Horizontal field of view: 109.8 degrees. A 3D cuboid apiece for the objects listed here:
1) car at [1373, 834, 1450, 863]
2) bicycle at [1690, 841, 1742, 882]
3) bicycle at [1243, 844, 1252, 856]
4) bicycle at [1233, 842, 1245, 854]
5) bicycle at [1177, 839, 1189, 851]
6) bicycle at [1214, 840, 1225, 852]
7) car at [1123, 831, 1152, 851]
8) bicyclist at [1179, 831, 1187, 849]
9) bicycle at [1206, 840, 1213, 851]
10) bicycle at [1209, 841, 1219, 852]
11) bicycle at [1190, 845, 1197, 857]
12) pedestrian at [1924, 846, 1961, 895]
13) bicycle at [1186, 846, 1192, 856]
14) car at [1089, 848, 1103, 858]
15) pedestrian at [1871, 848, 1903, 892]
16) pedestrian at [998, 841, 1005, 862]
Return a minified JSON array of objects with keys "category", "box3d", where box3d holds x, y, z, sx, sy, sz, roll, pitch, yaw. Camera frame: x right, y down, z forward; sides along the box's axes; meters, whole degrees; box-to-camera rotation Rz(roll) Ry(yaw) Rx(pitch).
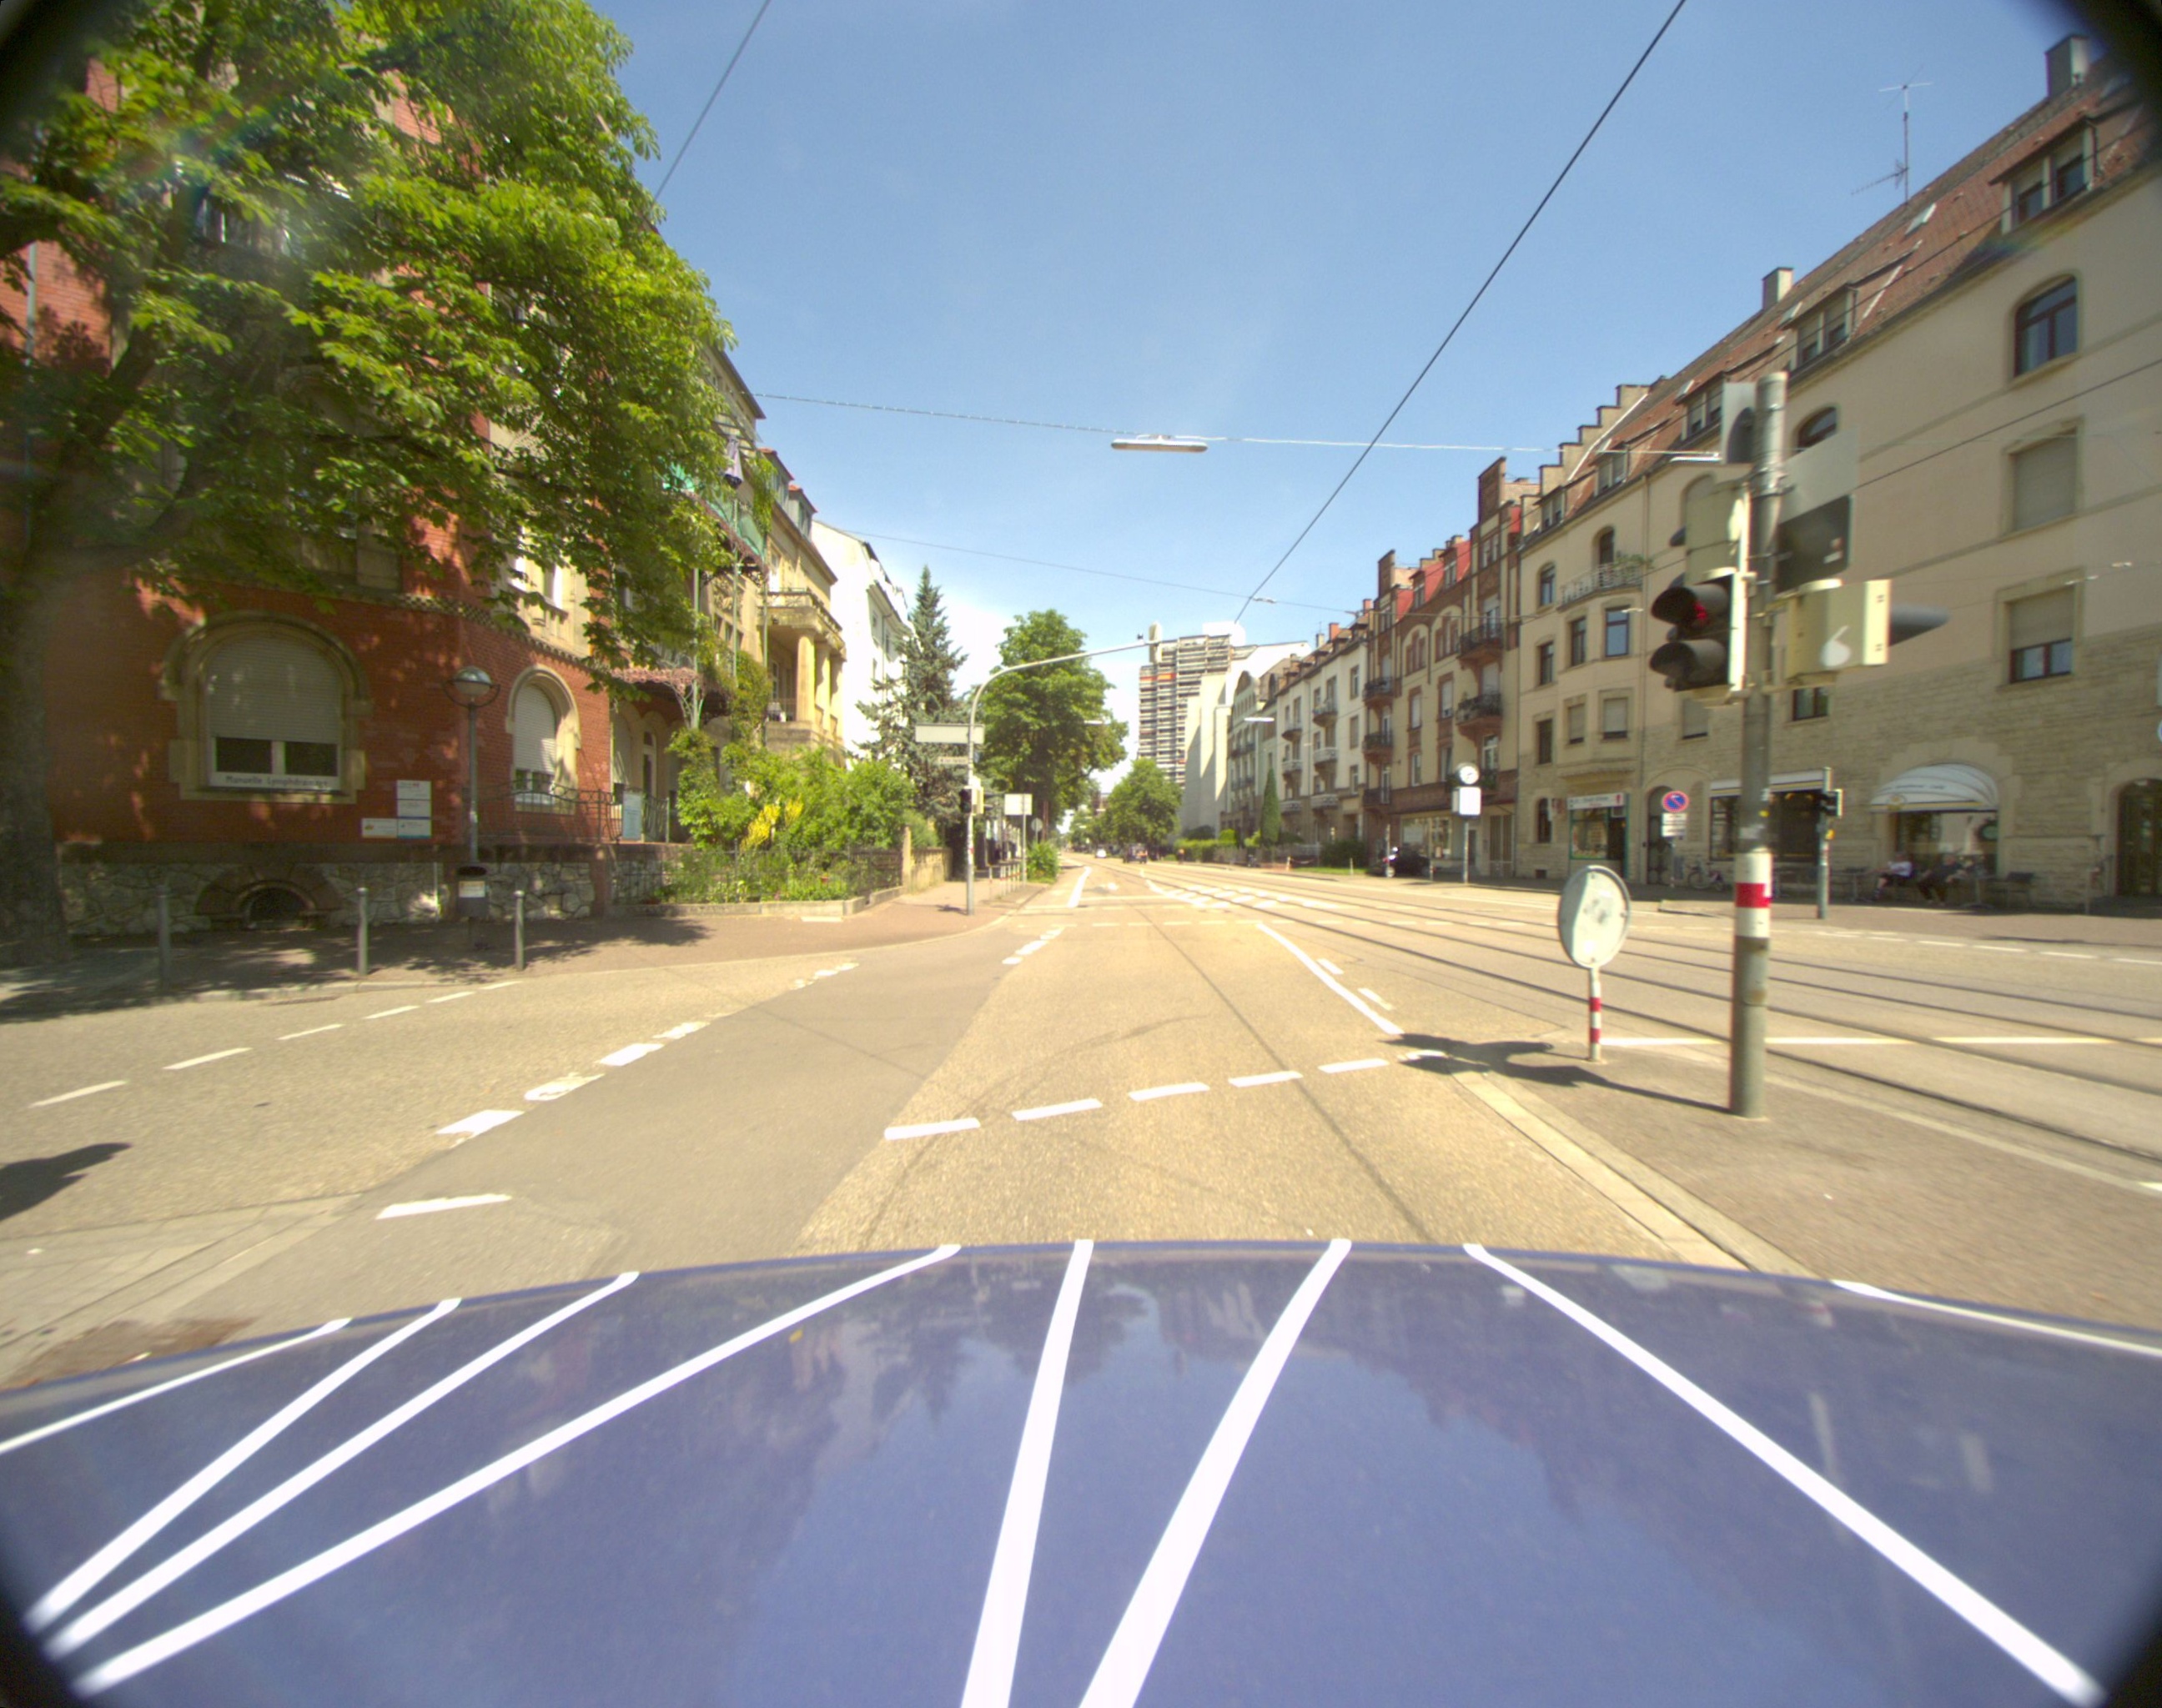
[{"category":"car","box3d":[17.238,-0.285,39.748,3.362,1.463,1.529,-1,1,1]},{"category":"bicycle","box3d":[20.077,0.220,24.074,0.454,1.218,2.082,0,2,16]},{"category":"bicycle","box3d":[12.944,-0.334,58.936,0.253,0.912,1.613,-1,1,-4]},{"category":"bicycle","box3d":[12.956,-0.526,62.330,0.463,0.943,1.953,-1,1,-4]},{"category":"bicycle","box3d":[9.348,-0.819,69.649,0.646,1.068,2.185,1,1,-4]},{"category":"bicycle","box3d":[12.526,-0.740,68.795,0.493,1.090,2.046,-1,1,-4]},{"category":"car","box3d":[5.660,-1.337,77.063,1.850,1.927,4.817,1,1,-8]},{"category":"bicyclist","box3d":[9.353,-1.296,69.657,0.611,1.654,0.579,1,1,-4]},{"category":"bicycle","box3d":[12.473,-0.830,73.742,0.290,1.040,1.898,-1,2,-4]},{"category":"bicycle","box3d":[12.427,-0.689,70.906,0.400,0.965,2.046,-1,1,-4]},{"category":"bicycle","box3d":[11.895,-0.333,80.629,0.340,1.157,1.932,-1,2,-4]},{"category":"pedestrian","box3d":[20.410,0.390,18.003,0.406,1.142,0.405,-1,2,-7]},{"category":"bicycle","box3d":[11.801,-0.351,82.804,0.340,1.062,1.727,-1,2,-4]},{"category":"car","box3d":[2.387,-0.154,119.873,1.713,1.404,3.822,2,1,-5]},{"category":"pedestrian","box3d":[20.312,0.403,19.150,0.355,1.083,0.405,-1,2,-7]},{"category":"pedestrian","box3d":[-6.317,-0.202,60.225,0.547,1.683,0.755,1,2,-4]}]
